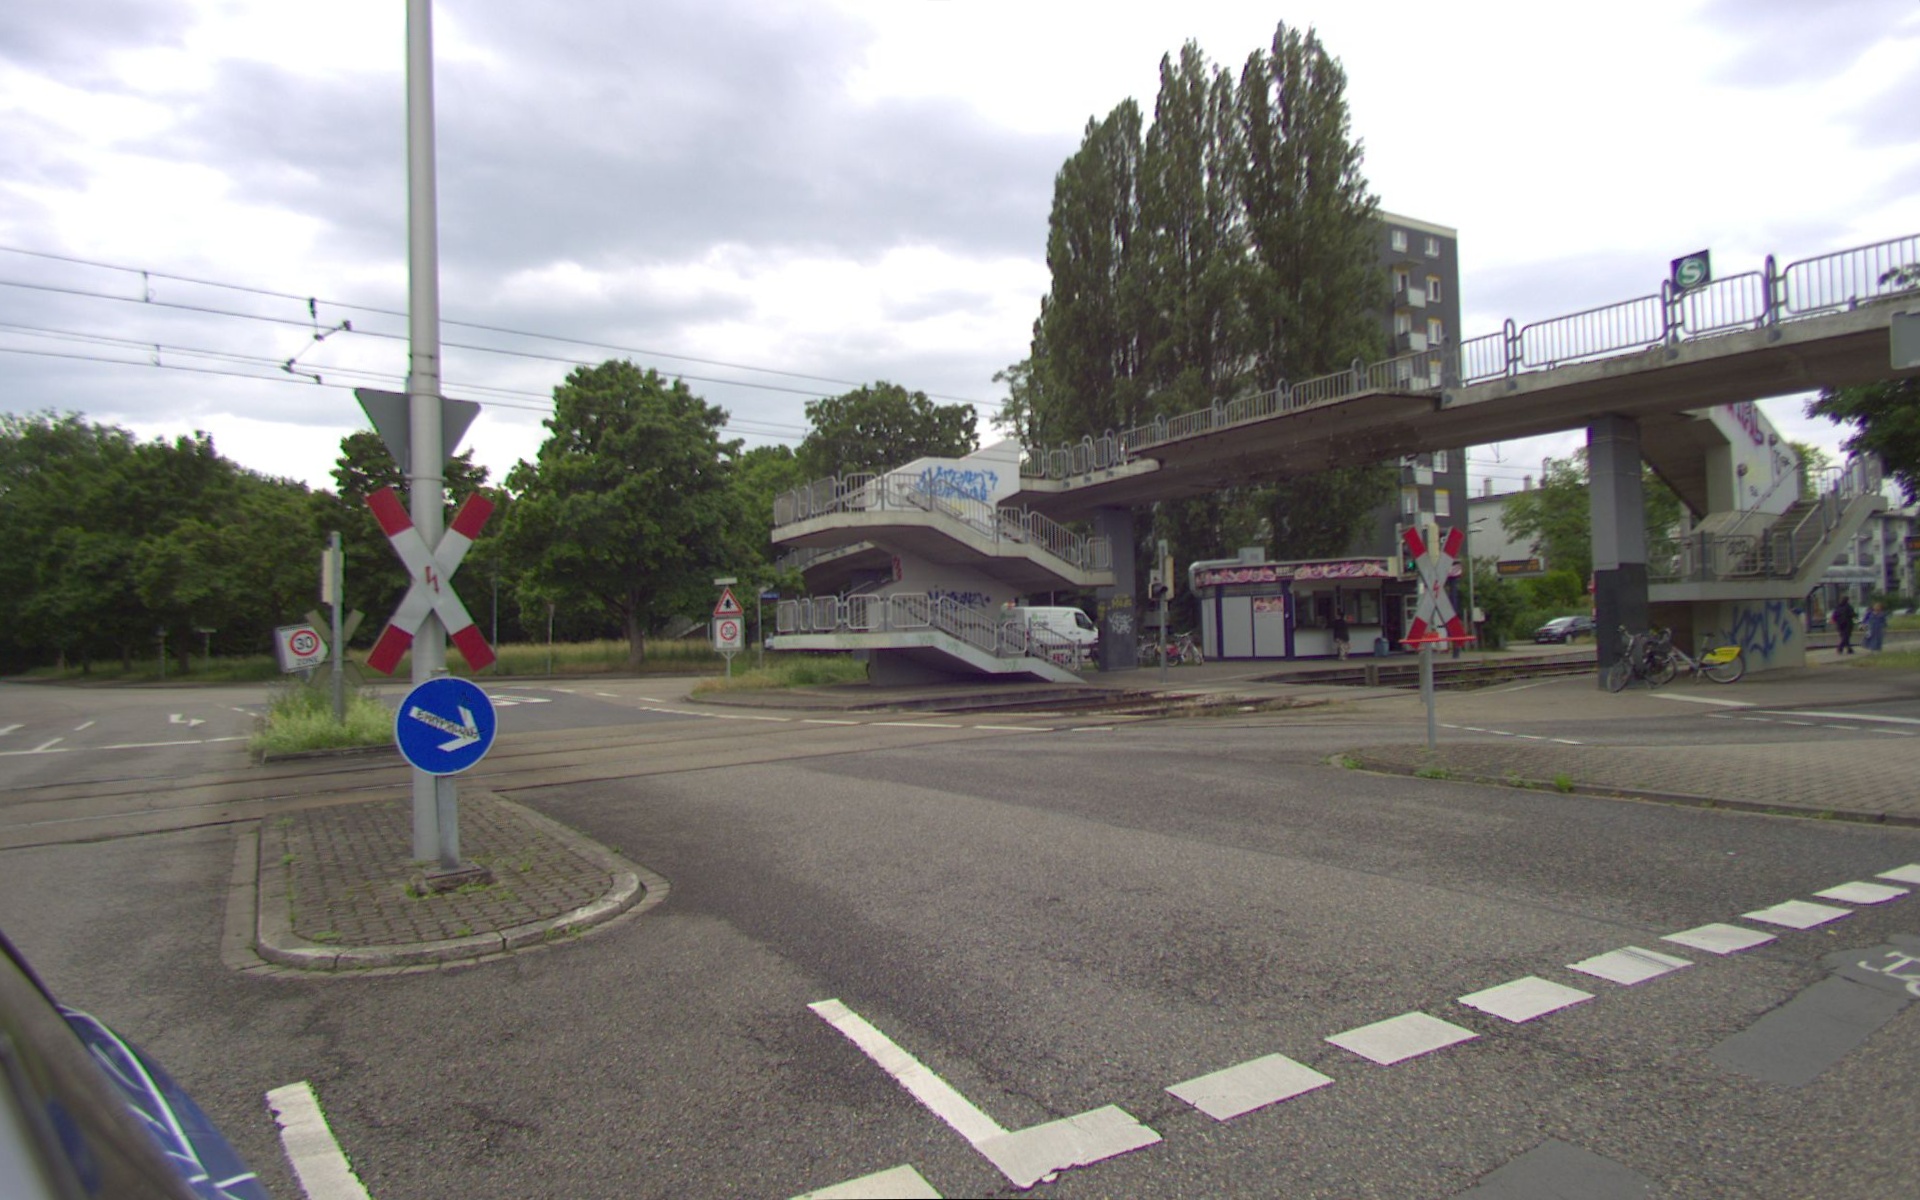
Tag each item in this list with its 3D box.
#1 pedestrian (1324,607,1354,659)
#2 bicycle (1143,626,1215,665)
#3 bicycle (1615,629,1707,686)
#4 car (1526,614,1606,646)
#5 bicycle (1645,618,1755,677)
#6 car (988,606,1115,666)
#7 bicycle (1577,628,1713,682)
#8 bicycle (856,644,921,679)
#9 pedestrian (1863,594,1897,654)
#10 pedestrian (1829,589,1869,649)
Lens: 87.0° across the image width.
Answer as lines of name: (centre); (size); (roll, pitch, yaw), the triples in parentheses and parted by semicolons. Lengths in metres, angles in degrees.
pedestrian: (12.412, 1.074, 33.149); (0.675, 1.677, 0.544); (-1, -3, -30)
bicycle: (7.046, 1.449, 32.419); (0.992, 1.123, 2.750); (-4, -3, 42)
bicycle: (12.777, 1.039, 18.437); (2.002, 0.928, 0.375); (-1, -2, -25)
car: (31.938, 1.562, 53.343); (3.931, 1.572, 1.674); (-1, -2, -26)
bicycle: (14.063, 0.910, 19.267); (1.607, 1.103, 0.348); (-2, -2, 28)
car: (3.847, 1.452, 42.109); (5.123, 2.310, 2.145); (0, -2, -38)
bicycle: (12.520, 0.998, 18.499); (2.366, 0.895, 0.559); (-1, -2, -13)
bicycle: (-1.957, 1.687, 27.745); (1.714, 0.892, 0.395); (-1, -2, -13)
pedestrian: (24.808, 0.648, 27.300); (0.329, 1.576, 0.561); (0, -2, -36)
pedestrian: (24.825, 0.529, 28.252); (0.652, 1.655, 0.603); (-1, -2, -32)
